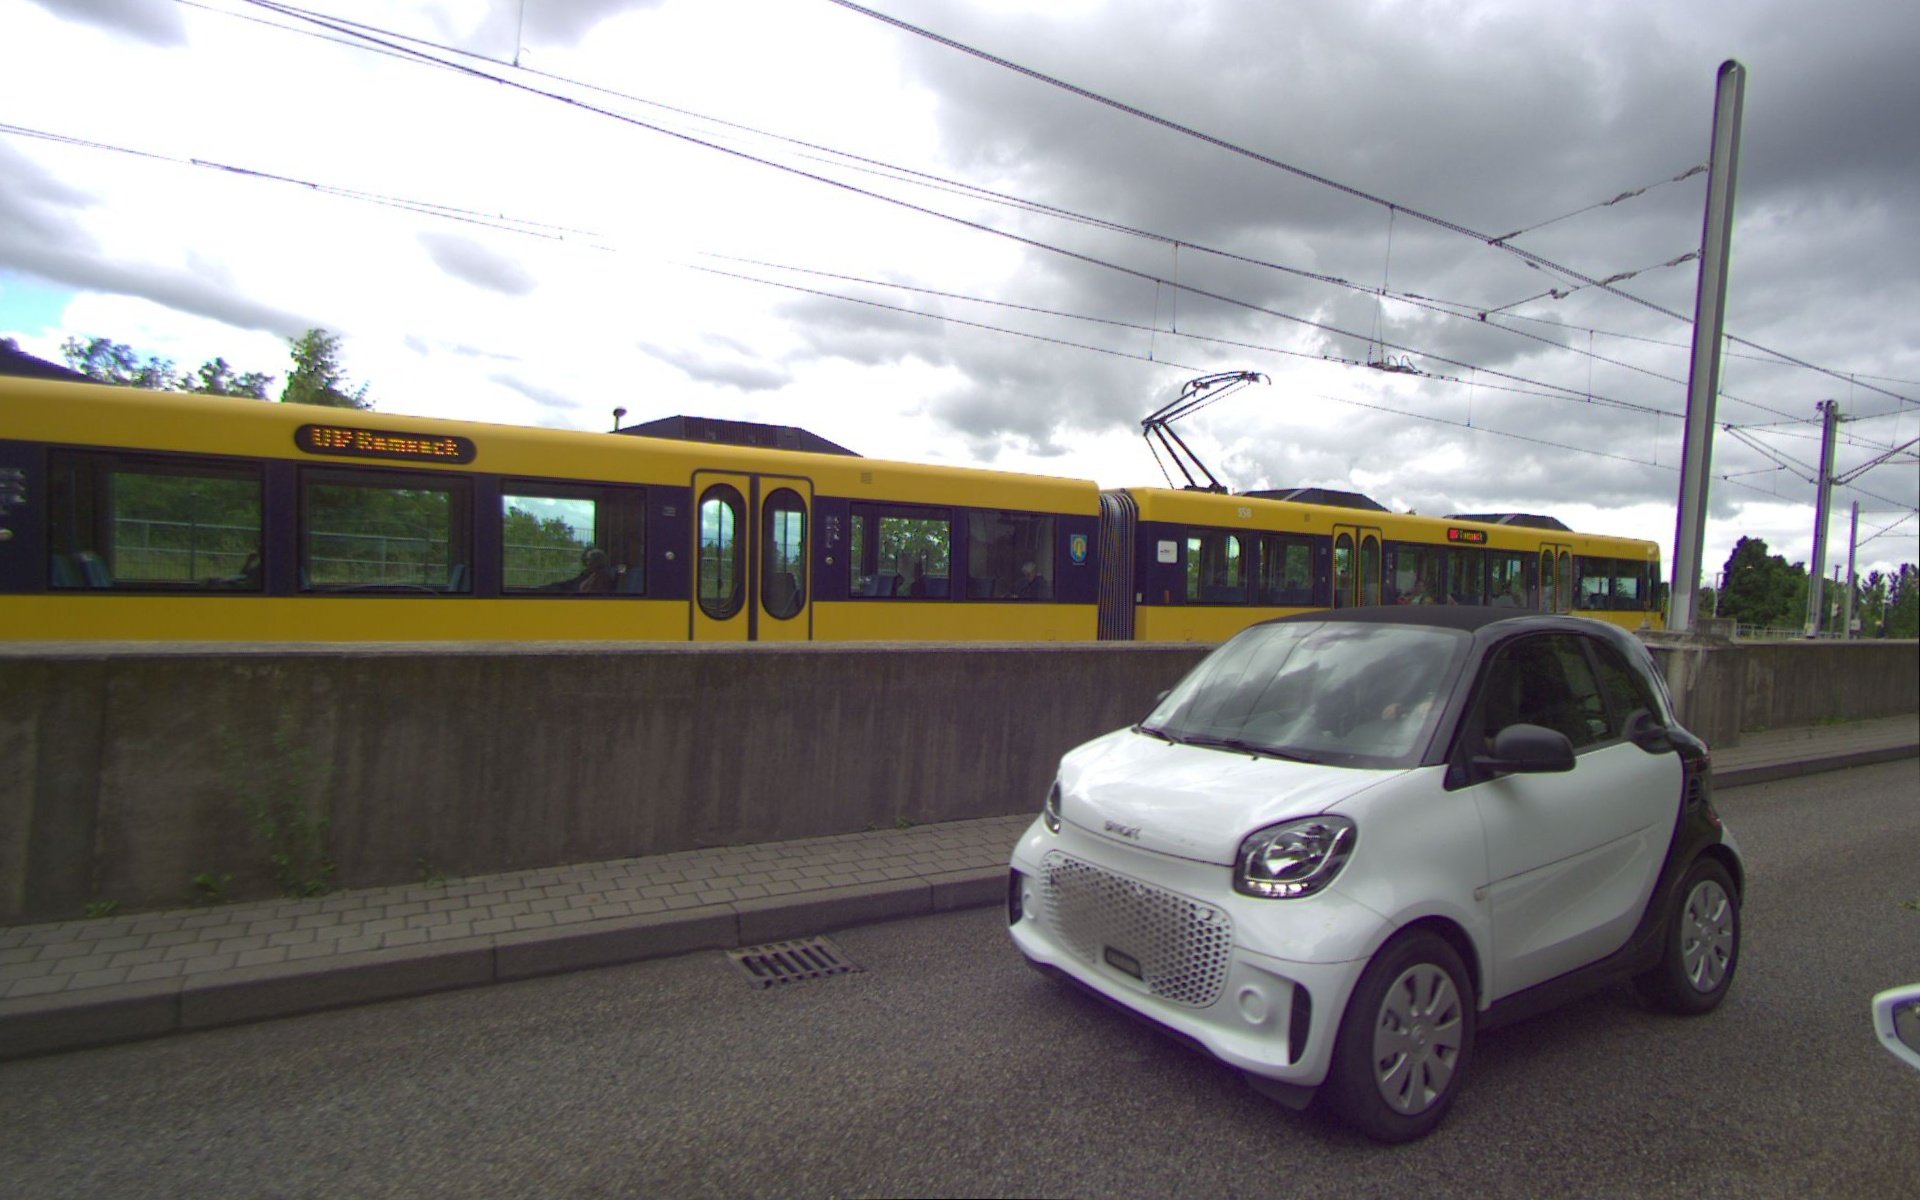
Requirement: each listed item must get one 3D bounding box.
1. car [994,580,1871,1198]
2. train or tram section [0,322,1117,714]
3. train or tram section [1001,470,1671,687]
[{"bbox_3d":[2.251,0.783,4.423,3.958,1.593,1.721,1,-1,-34],"label":"car"},{"bbox_3d":[-6.576,-0.592,10.139,19.099,3.065,2.785,2,-1,-33],"label":"train or tram section"},{"bbox_3d":[9.142,-0.041,20.661,18.691,3.062,2.778,2,-1,-35],"label":"train or tram section"}]
